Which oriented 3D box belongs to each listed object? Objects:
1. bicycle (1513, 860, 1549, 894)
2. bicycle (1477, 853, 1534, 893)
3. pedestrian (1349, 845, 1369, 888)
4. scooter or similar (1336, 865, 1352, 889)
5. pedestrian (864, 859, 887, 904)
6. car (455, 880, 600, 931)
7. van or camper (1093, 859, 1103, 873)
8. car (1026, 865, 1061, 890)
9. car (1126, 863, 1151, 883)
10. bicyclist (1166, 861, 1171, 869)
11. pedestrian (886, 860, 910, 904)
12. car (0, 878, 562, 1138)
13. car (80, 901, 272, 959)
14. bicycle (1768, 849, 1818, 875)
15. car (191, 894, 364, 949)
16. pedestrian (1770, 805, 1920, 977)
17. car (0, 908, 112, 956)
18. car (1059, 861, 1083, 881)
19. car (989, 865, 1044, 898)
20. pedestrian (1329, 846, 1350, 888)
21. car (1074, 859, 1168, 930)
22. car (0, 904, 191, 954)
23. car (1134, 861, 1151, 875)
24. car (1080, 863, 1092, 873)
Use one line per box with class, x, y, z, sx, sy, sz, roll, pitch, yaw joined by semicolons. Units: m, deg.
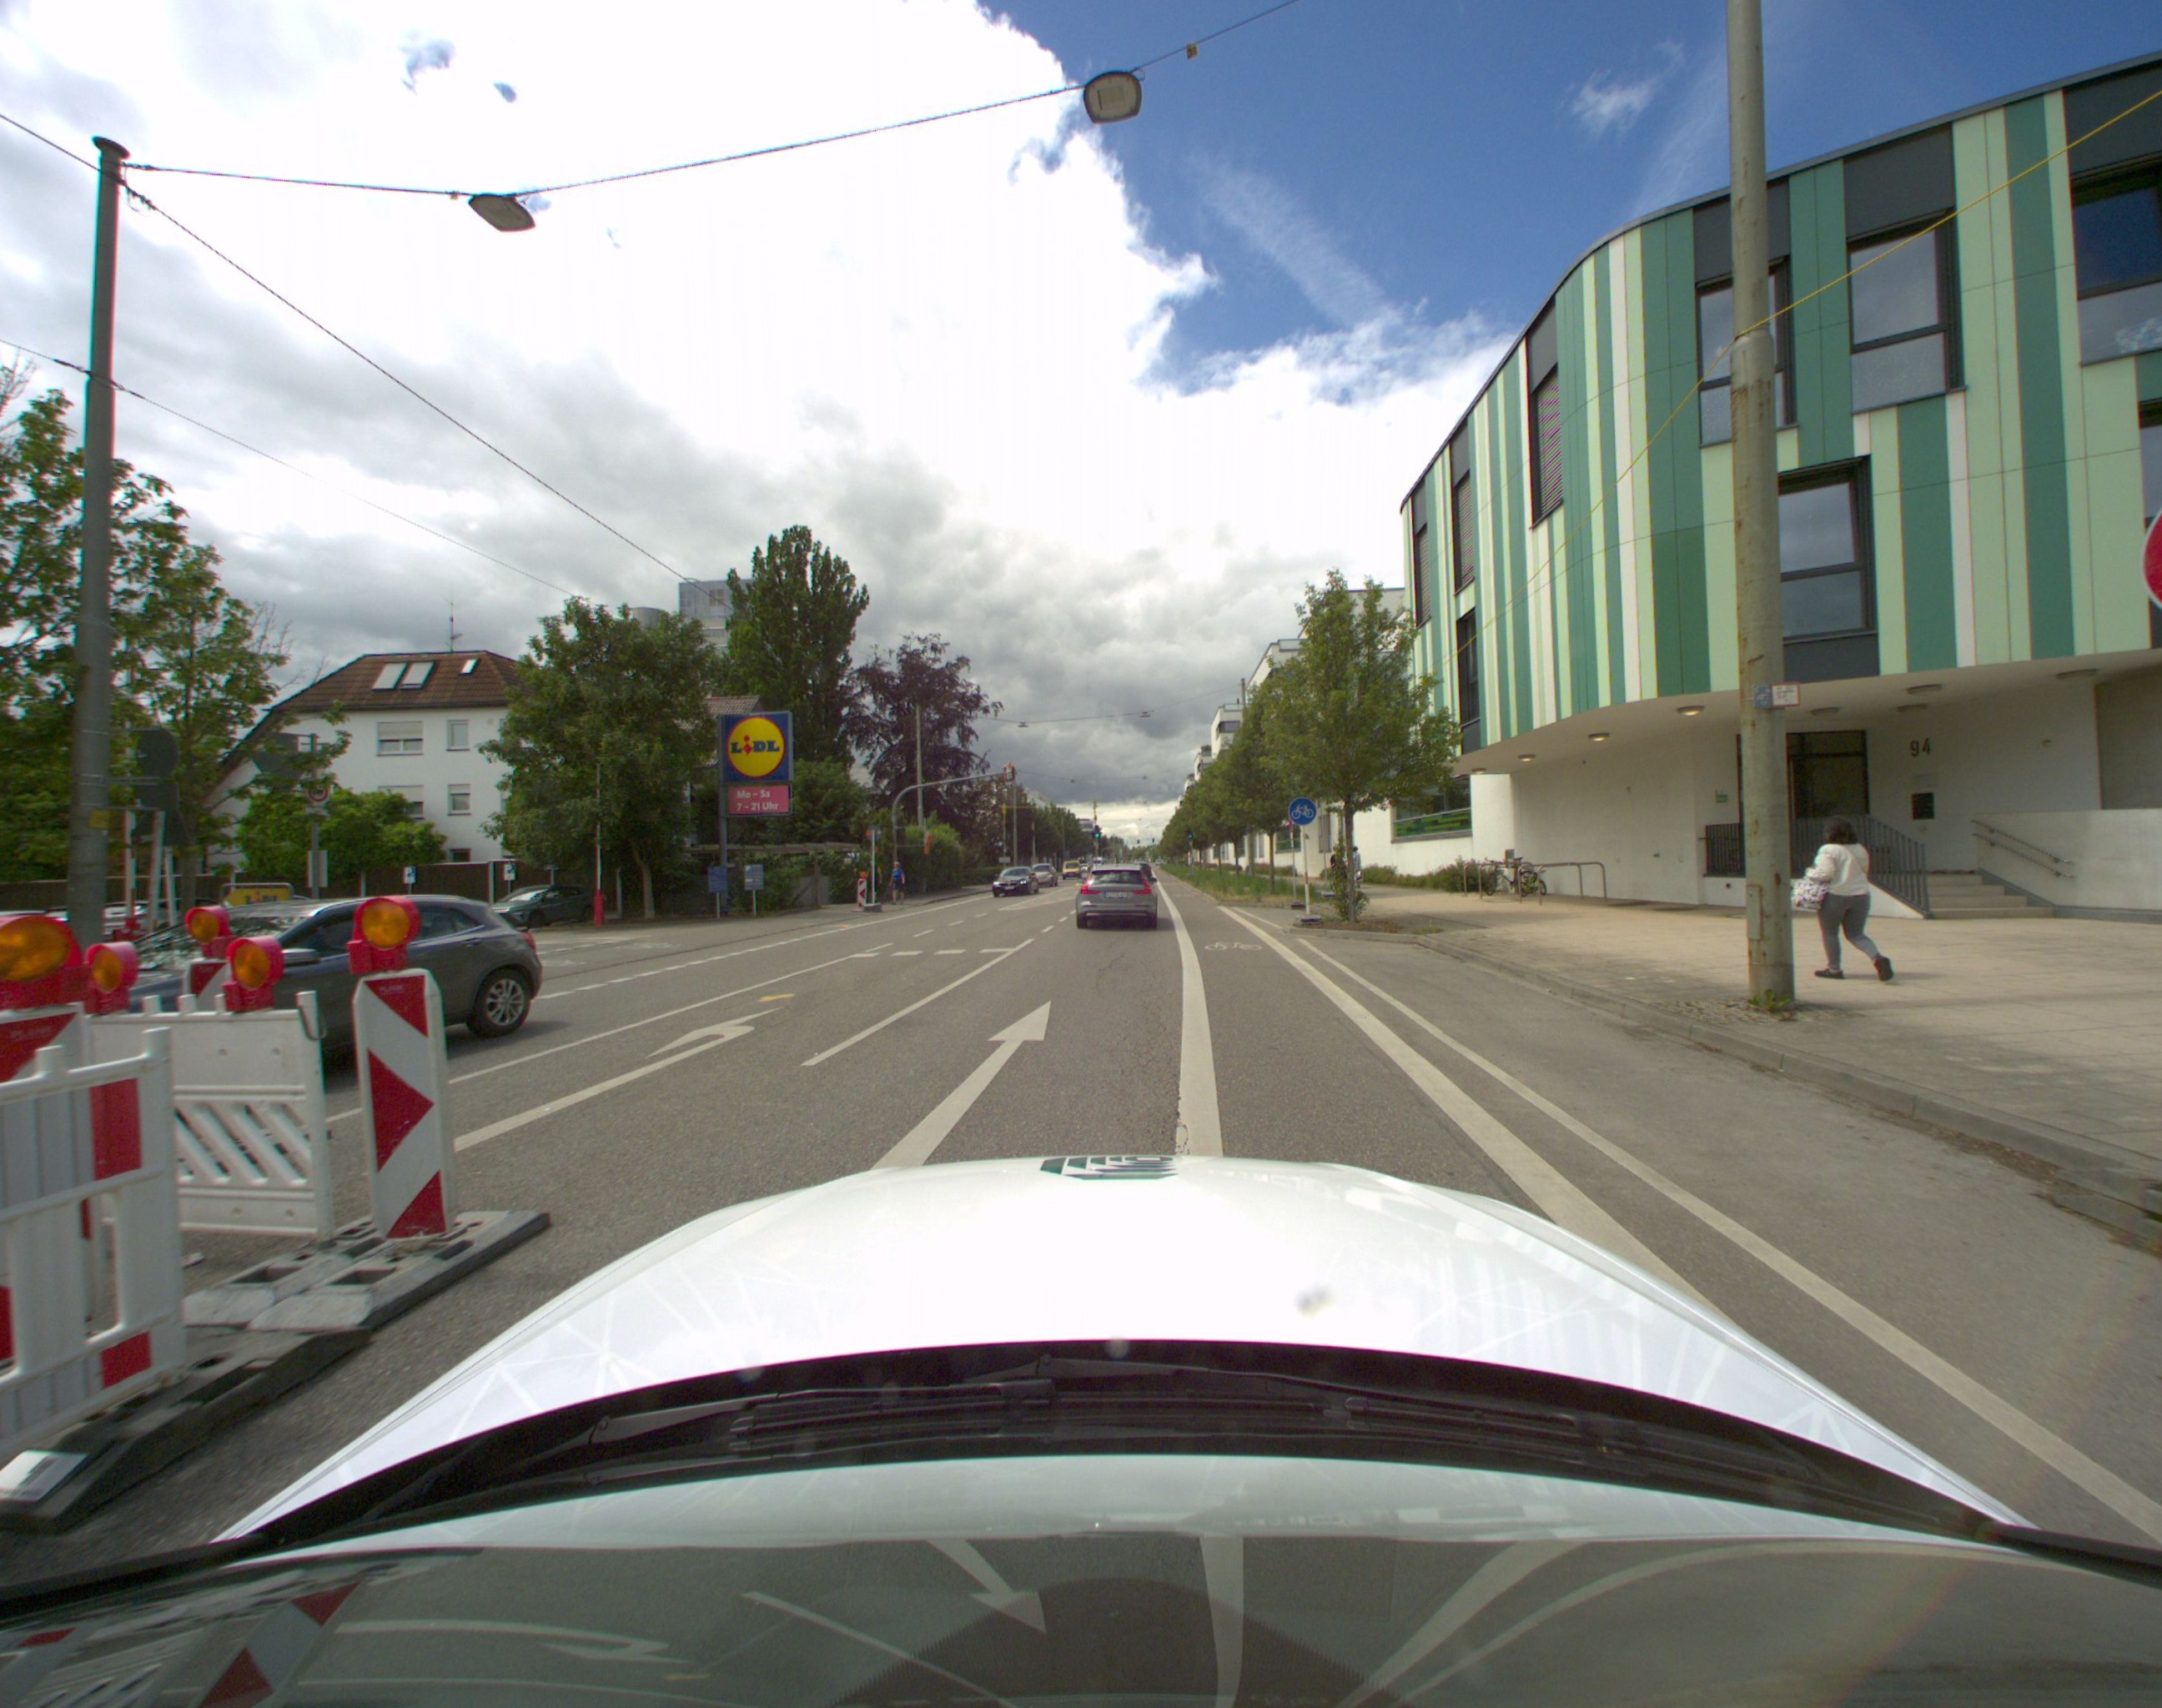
bicycle;11.990;0.619;21.699;1.028;0.842;0.304;-2;-1;-29
bicycle;11.882;0.534;22.790;1.464;1.046;0.306;-3;-1;-8
pedestrian;11.006;0.487;32.289;0.548;1.655;0.607;-3;-1;4
scooter or similar;10.458;0.907;32.357;0.420;0.905;0.682;-3;-1;4
pedestrian;-8.774;1.175;34.754;0.678;1.854;0.707;-2;-1;4
car;-18.795;1.712;27.920;1.984;1.453;4.005;-3;-1;4
van or camper;3.605;2.562;174.123;1.987;2.734;6.052;-3;-1;0
car;-2.510;1.548;55.029;1.741;1.555;4.407;-3;-1;4
car;4.486;1.446;63.141;1.846;1.513;4.004;-1;0;4
bicyclist;20.893;2.606;194.710;1.009;2.014;1.132;-3;-1;3
pedestrian;-7.788;1.181;34.711;0.678;1.854;0.893;-3;-1;4
car;-6.980;1.052;7.145;1.844;1.513;4.009;-3;-1;8
car;-30.533;2.499;27.679;1.987;1.552;4.000;-3;-1;0
bicycle;13.149;0.142;15.058;0.304;0.452;0.801;-3;-1;10
car;-27.929;2.302;28.522;1.987;1.552;4.000;-3;-1;0
pedestrian;7.344;0.343;7.875;0.578;1.551;0.870;-3;-1;4
car;-36.392;2.694;27.711;1.987;1.398;4.000;-3;-1;0
car;-0.904;1.630;79.437;1.833;1.905;4.691;-3;-1;4
car;-3.212;1.356;41.624;1.984;1.400;4.816;-4;-1;4
pedestrian;10.467;0.534;33.002;0.602;1.655;0.552;-3;-1;4
car;1.087;0.897;19.799;1.843;1.513;4.010;0;0;9
car;-33.442;2.502;27.650;1.987;1.288;4.000;-3;-1;0
car;6.816;1.558;91.080;1.837;1.513;4.004;-1;0;4
car;0.839;2.255;132.795;1.653;1.515;4.005;-2;-1;4
